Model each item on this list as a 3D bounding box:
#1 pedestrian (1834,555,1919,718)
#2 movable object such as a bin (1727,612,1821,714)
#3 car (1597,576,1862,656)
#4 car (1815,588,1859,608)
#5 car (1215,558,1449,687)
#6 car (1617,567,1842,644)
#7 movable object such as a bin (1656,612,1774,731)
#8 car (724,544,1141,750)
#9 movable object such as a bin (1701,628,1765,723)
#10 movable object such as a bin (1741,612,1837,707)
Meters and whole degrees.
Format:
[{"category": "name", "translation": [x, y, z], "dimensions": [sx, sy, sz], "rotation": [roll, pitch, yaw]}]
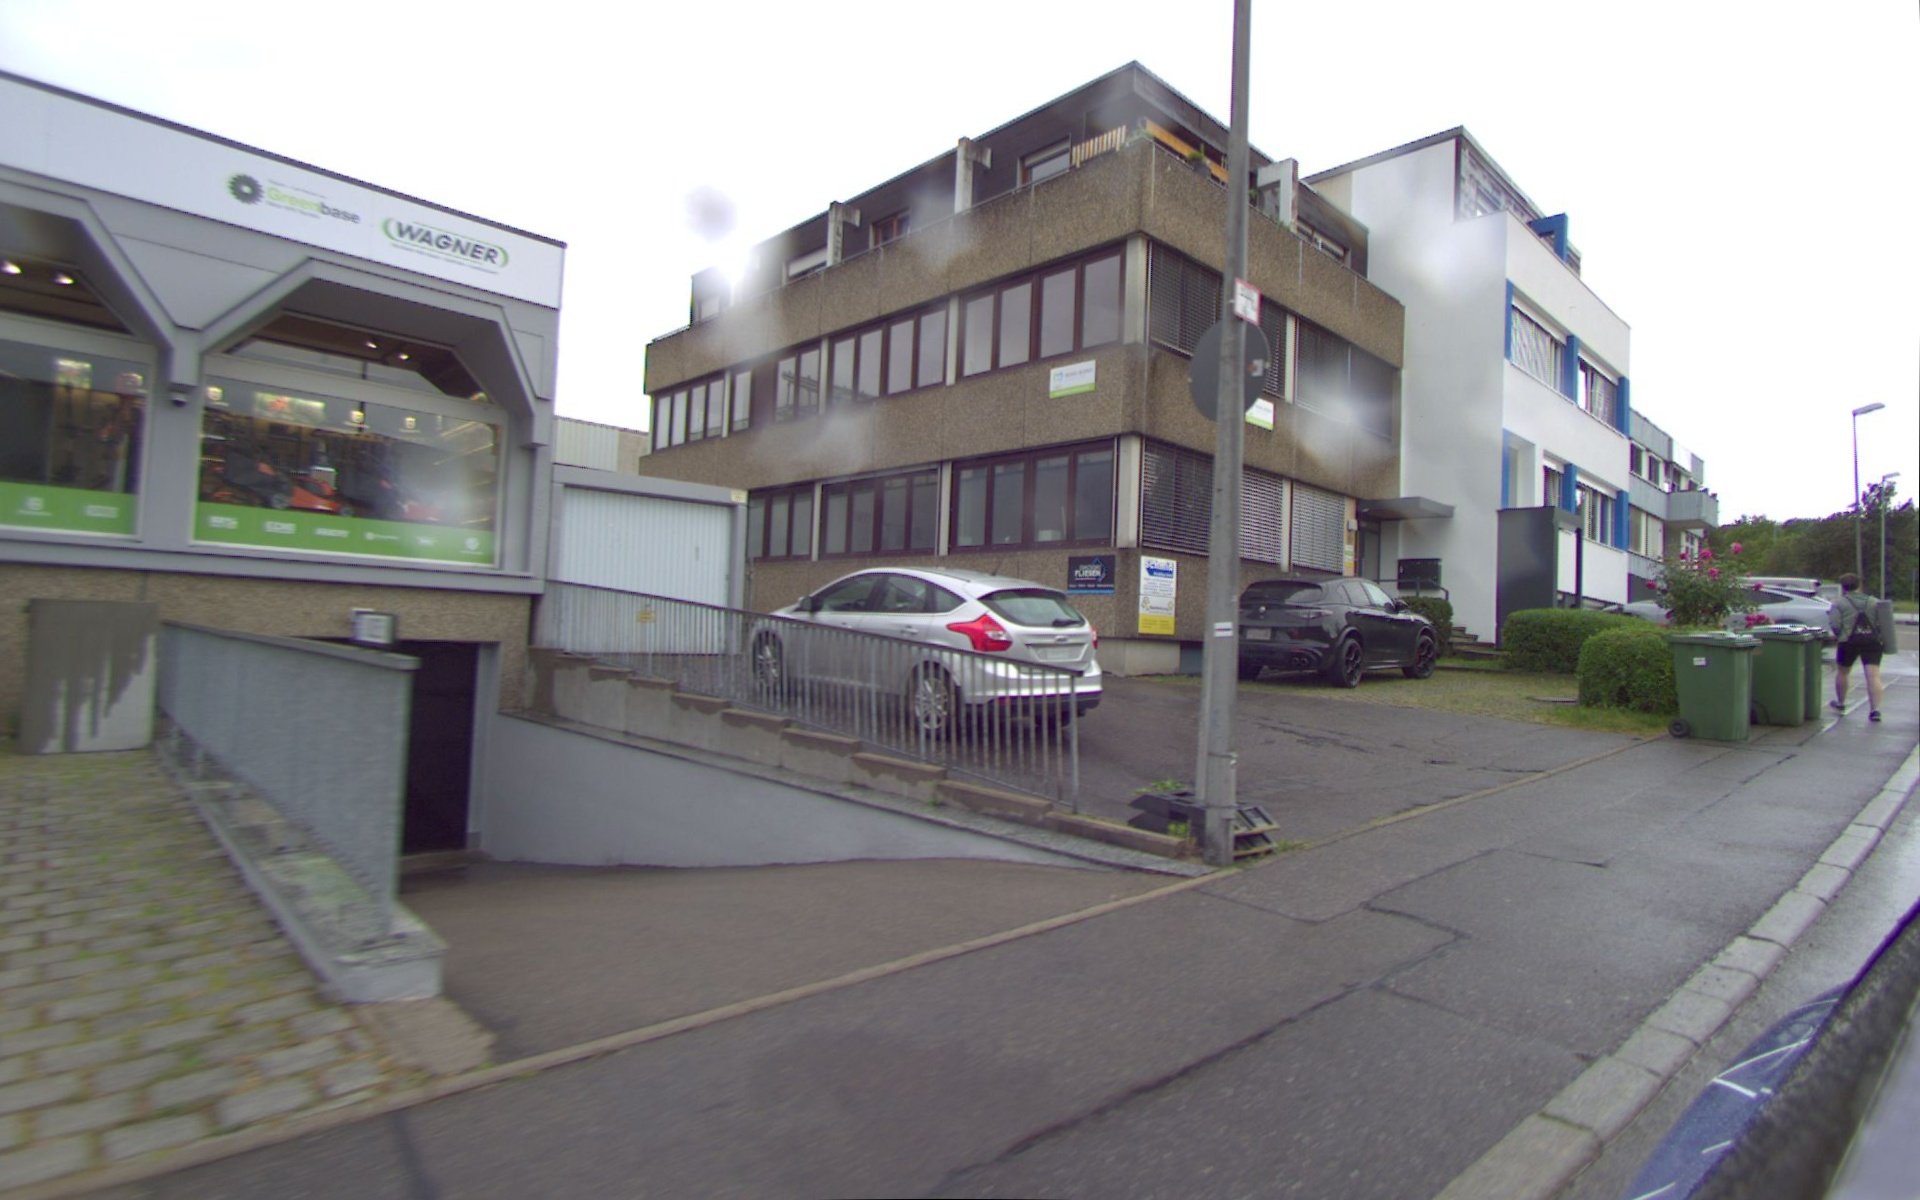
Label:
[{"category": "pedestrian", "translation": [10.652, 0.395, 11.696], "dimensions": [0.794, 1.789, 0.737], "rotation": [0, 0, -42]}, {"category": "movable object such as a bin", "translation": [9.192, 0.688, 11.432], "dimensions": [0.626, 1.080, 0.744], "rotation": [0, 0, -42]}, {"category": "car", "translation": [17.649, 0.288, 23.385], "dimensions": [2.045, 1.557, 4.602], "rotation": [0, 2, -43]}, {"category": "car", "translation": [78.139, -0.207, 90.243], "dimensions": [1.799, 1.748, 4.611], "rotation": [1, 1, 26]}, {"category": "car", "translation": [5.987, 0.260, 16.003], "dimensions": [4.400, 1.771, 1.750], "rotation": [-1, 2, -44]}, {"category": "car", "translation": [19.535, 0.071, 25.805], "dimensions": [2.055, 1.795, 4.343], "rotation": [0, 1, -45]}, {"category": "movable object such as a bin", "translation": [7.643, 0.696, 10.258], "dimensions": [0.689, 1.127, 0.732], "rotation": [0, 0, -27]}, {"category": "car", "translation": [-0.450, 0.280, 10.267], "dimensions": [1.970, 1.593, 4.126], "rotation": [-1, 4, -44]}, {"category": "movable object such as a bin", "translation": [8.416, 0.805, 11.016], "dimensions": [0.505, 0.979, 0.473], "rotation": [0, 0, -42]}, {"category": "movable object such as a bin", "translation": [9.747, 0.676, 11.896], "dimensions": [0.794, 1.043, 0.772], "rotation": [0, 0, -42]}]
